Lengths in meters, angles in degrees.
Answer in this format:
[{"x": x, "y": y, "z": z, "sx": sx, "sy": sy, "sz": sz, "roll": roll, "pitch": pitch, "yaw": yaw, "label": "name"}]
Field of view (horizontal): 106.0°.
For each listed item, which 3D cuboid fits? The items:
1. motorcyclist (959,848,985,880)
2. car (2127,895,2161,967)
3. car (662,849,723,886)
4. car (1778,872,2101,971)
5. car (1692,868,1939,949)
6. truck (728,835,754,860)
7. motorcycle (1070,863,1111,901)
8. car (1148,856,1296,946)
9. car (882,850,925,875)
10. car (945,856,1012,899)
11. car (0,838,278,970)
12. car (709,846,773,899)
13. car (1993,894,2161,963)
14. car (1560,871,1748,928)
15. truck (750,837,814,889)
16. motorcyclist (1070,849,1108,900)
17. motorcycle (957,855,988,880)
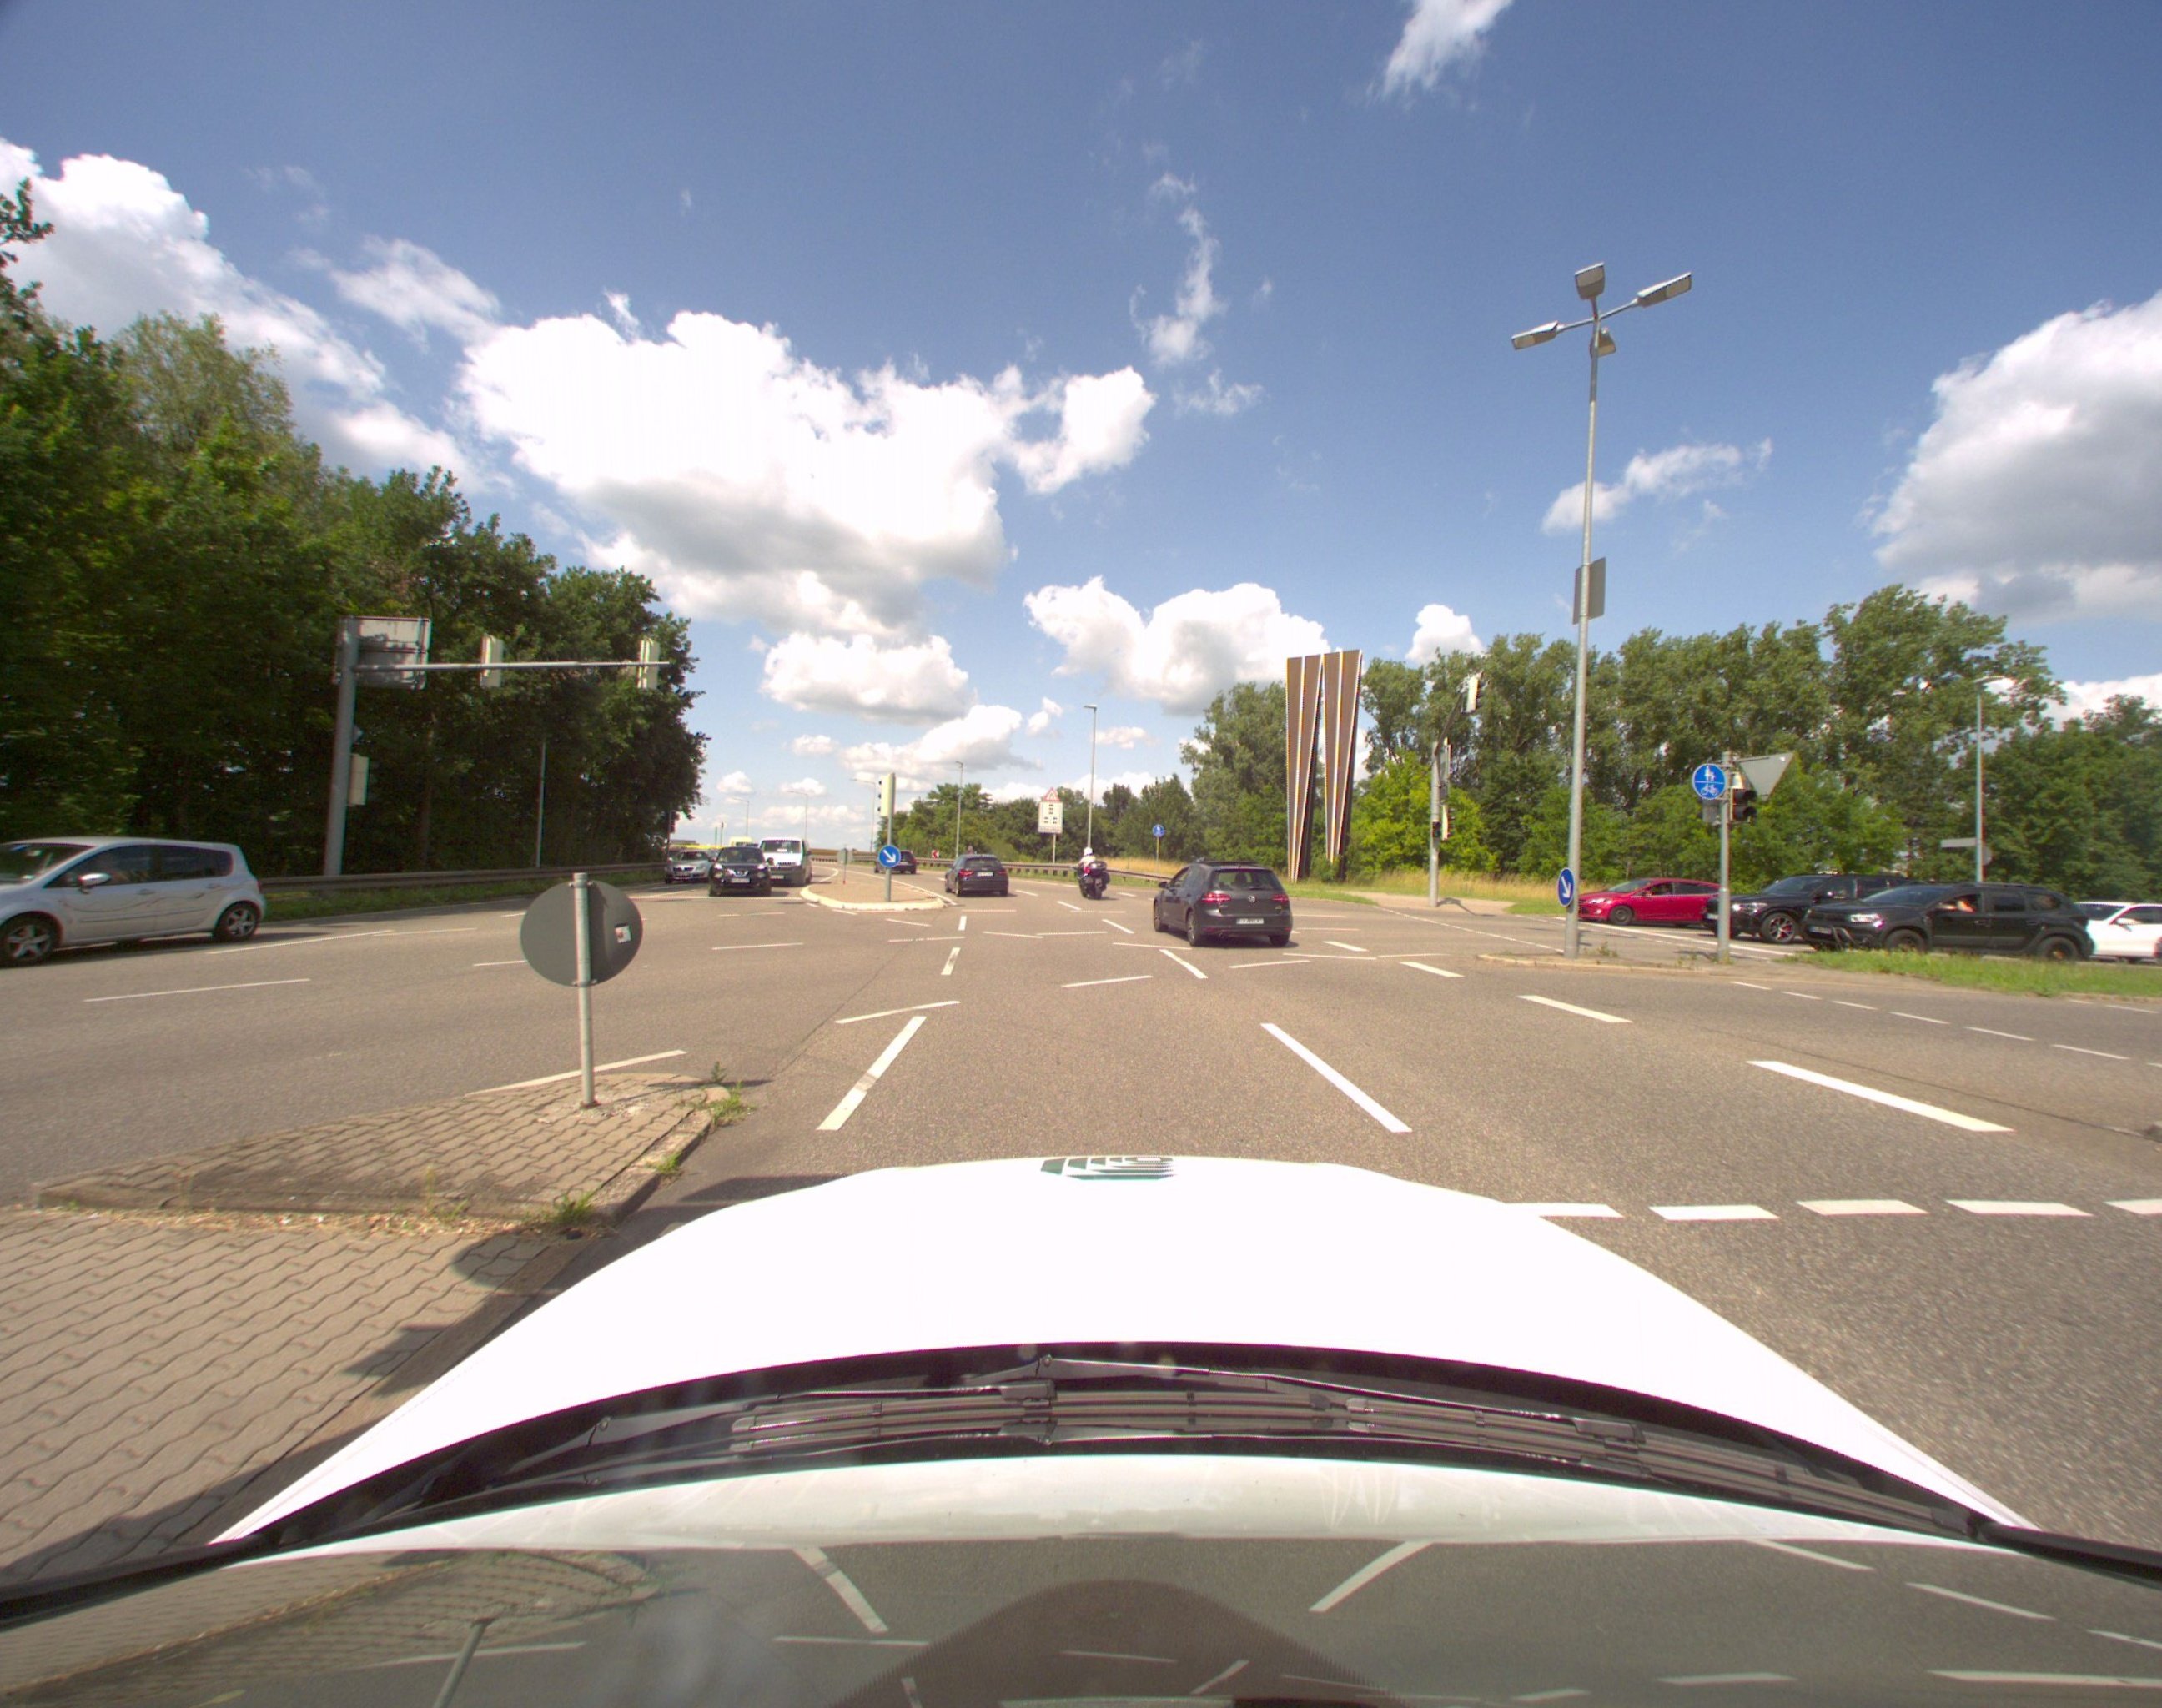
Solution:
[{"x": -5.589, "y": 0.514, "z": 41.738, "sx": 0.970, "sy": 1.596, "sz": 1.116, "roll": 2, "pitch": -1, "yaw": -25, "label": "motorcyclist"}, {"x": 23.279, "y": 1.619, "z": 15.399, "sx": 4.506, "sy": 1.375, "sz": 1.649, "roll": 3, "pitch": 0, "yaw": 5, "label": "car"}, {"x": -16.900, "y": 0.547, "z": 35.638, "sx": 1.686, "sy": 1.478, "sz": 4.685, "roll": -1, "pitch": 0, "yaw": -17, "label": "car"}, {"x": 16.792, "y": 1.274, "z": 16.137, "sx": 4.260, "sy": 1.617, "sz": 1.848, "roll": 3, "pitch": -1, "yaw": 5, "label": "car"}, {"x": 17.744, "y": 1.271, "z": 19.861, "sx": 4.181, "sy": 1.645, "sz": 1.841, "roll": 3, "pitch": 0, "yaw": 5, "label": "car"}, {"x": -36.561, "y": -0.689, "z": 87.473, "sx": 2.005, "sy": 2.620, "sz": 6.049, "roll": -1, "pitch": 1, "yaw": -28, "label": "truck"}, {"x": 0.287, "y": 0.887, "z": 26.584, "sx": 0.790, "sy": 1.132, "sz": 2.388, "roll": 1, "pitch": 0, "yaw": -13, "label": "motorcycle"}, {"x": 2.515, "y": 0.809, "z": 15.437, "sx": 1.641, "sy": 1.479, "sz": 3.861, "roll": 1, "pitch": -1, "yaw": -8, "label": "car"}, {"x": -10.749, "y": 0.506, "z": 49.178, "sx": 1.650, "sy": 1.479, "sz": 3.839, "roll": 1, "pitch": -1, "yaw": -26, "label": "car"}, {"x": -3.623, "y": 0.797, "z": 28.185, "sx": 1.686, "sy": 1.388, "sz": 3.716, "roll": 0, "pitch": -1, "yaw": -17, "label": "car"}, {"x": -13.476, "y": 0.563, "z": 10.876, "sx": 1.731, "sy": 1.521, "sz": 4.059, "roll": 0, "pitch": 0, "yaw": -6, "label": "car"}, {"x": -10.797, "y": 0.544, "z": 25.851, "sx": 1.705, "sy": 1.557, "sz": 3.793, "roll": 1, "pitch": 0, "yaw": -23, "label": "car"}, {"x": 24.568, "y": 1.765, "z": 19.122, "sx": 4.181, "sy": 1.375, "sz": 1.649, "roll": 3, "pitch": 0, "yaw": 5, "label": "car"}, {"x": 16.669, "y": 1.299, "z": 23.874, "sx": 4.181, "sy": 1.375, "sz": 1.762, "roll": 3, "pitch": 0, "yaw": 5, "label": "car"}, {"x": -12.113, "y": 0.338, "z": 33.318, "sx": 1.964, "sy": 1.913, "sz": 5.343, "roll": 1, "pitch": 0, "yaw": -15, "label": "truck"}, {"x": 0.256, "y": 0.669, "z": 26.834, "sx": 0.967, "sy": 1.620, "sz": 1.119, "roll": 2, "pitch": -1, "yaw": -14, "label": "motorcyclist"}, {"x": -5.584, "y": 0.678, "z": 41.745, "sx": 0.891, "sy": 1.247, "sz": 2.380, "roll": 2, "pitch": -1, "yaw": -25, "label": "motorcycle"}]
